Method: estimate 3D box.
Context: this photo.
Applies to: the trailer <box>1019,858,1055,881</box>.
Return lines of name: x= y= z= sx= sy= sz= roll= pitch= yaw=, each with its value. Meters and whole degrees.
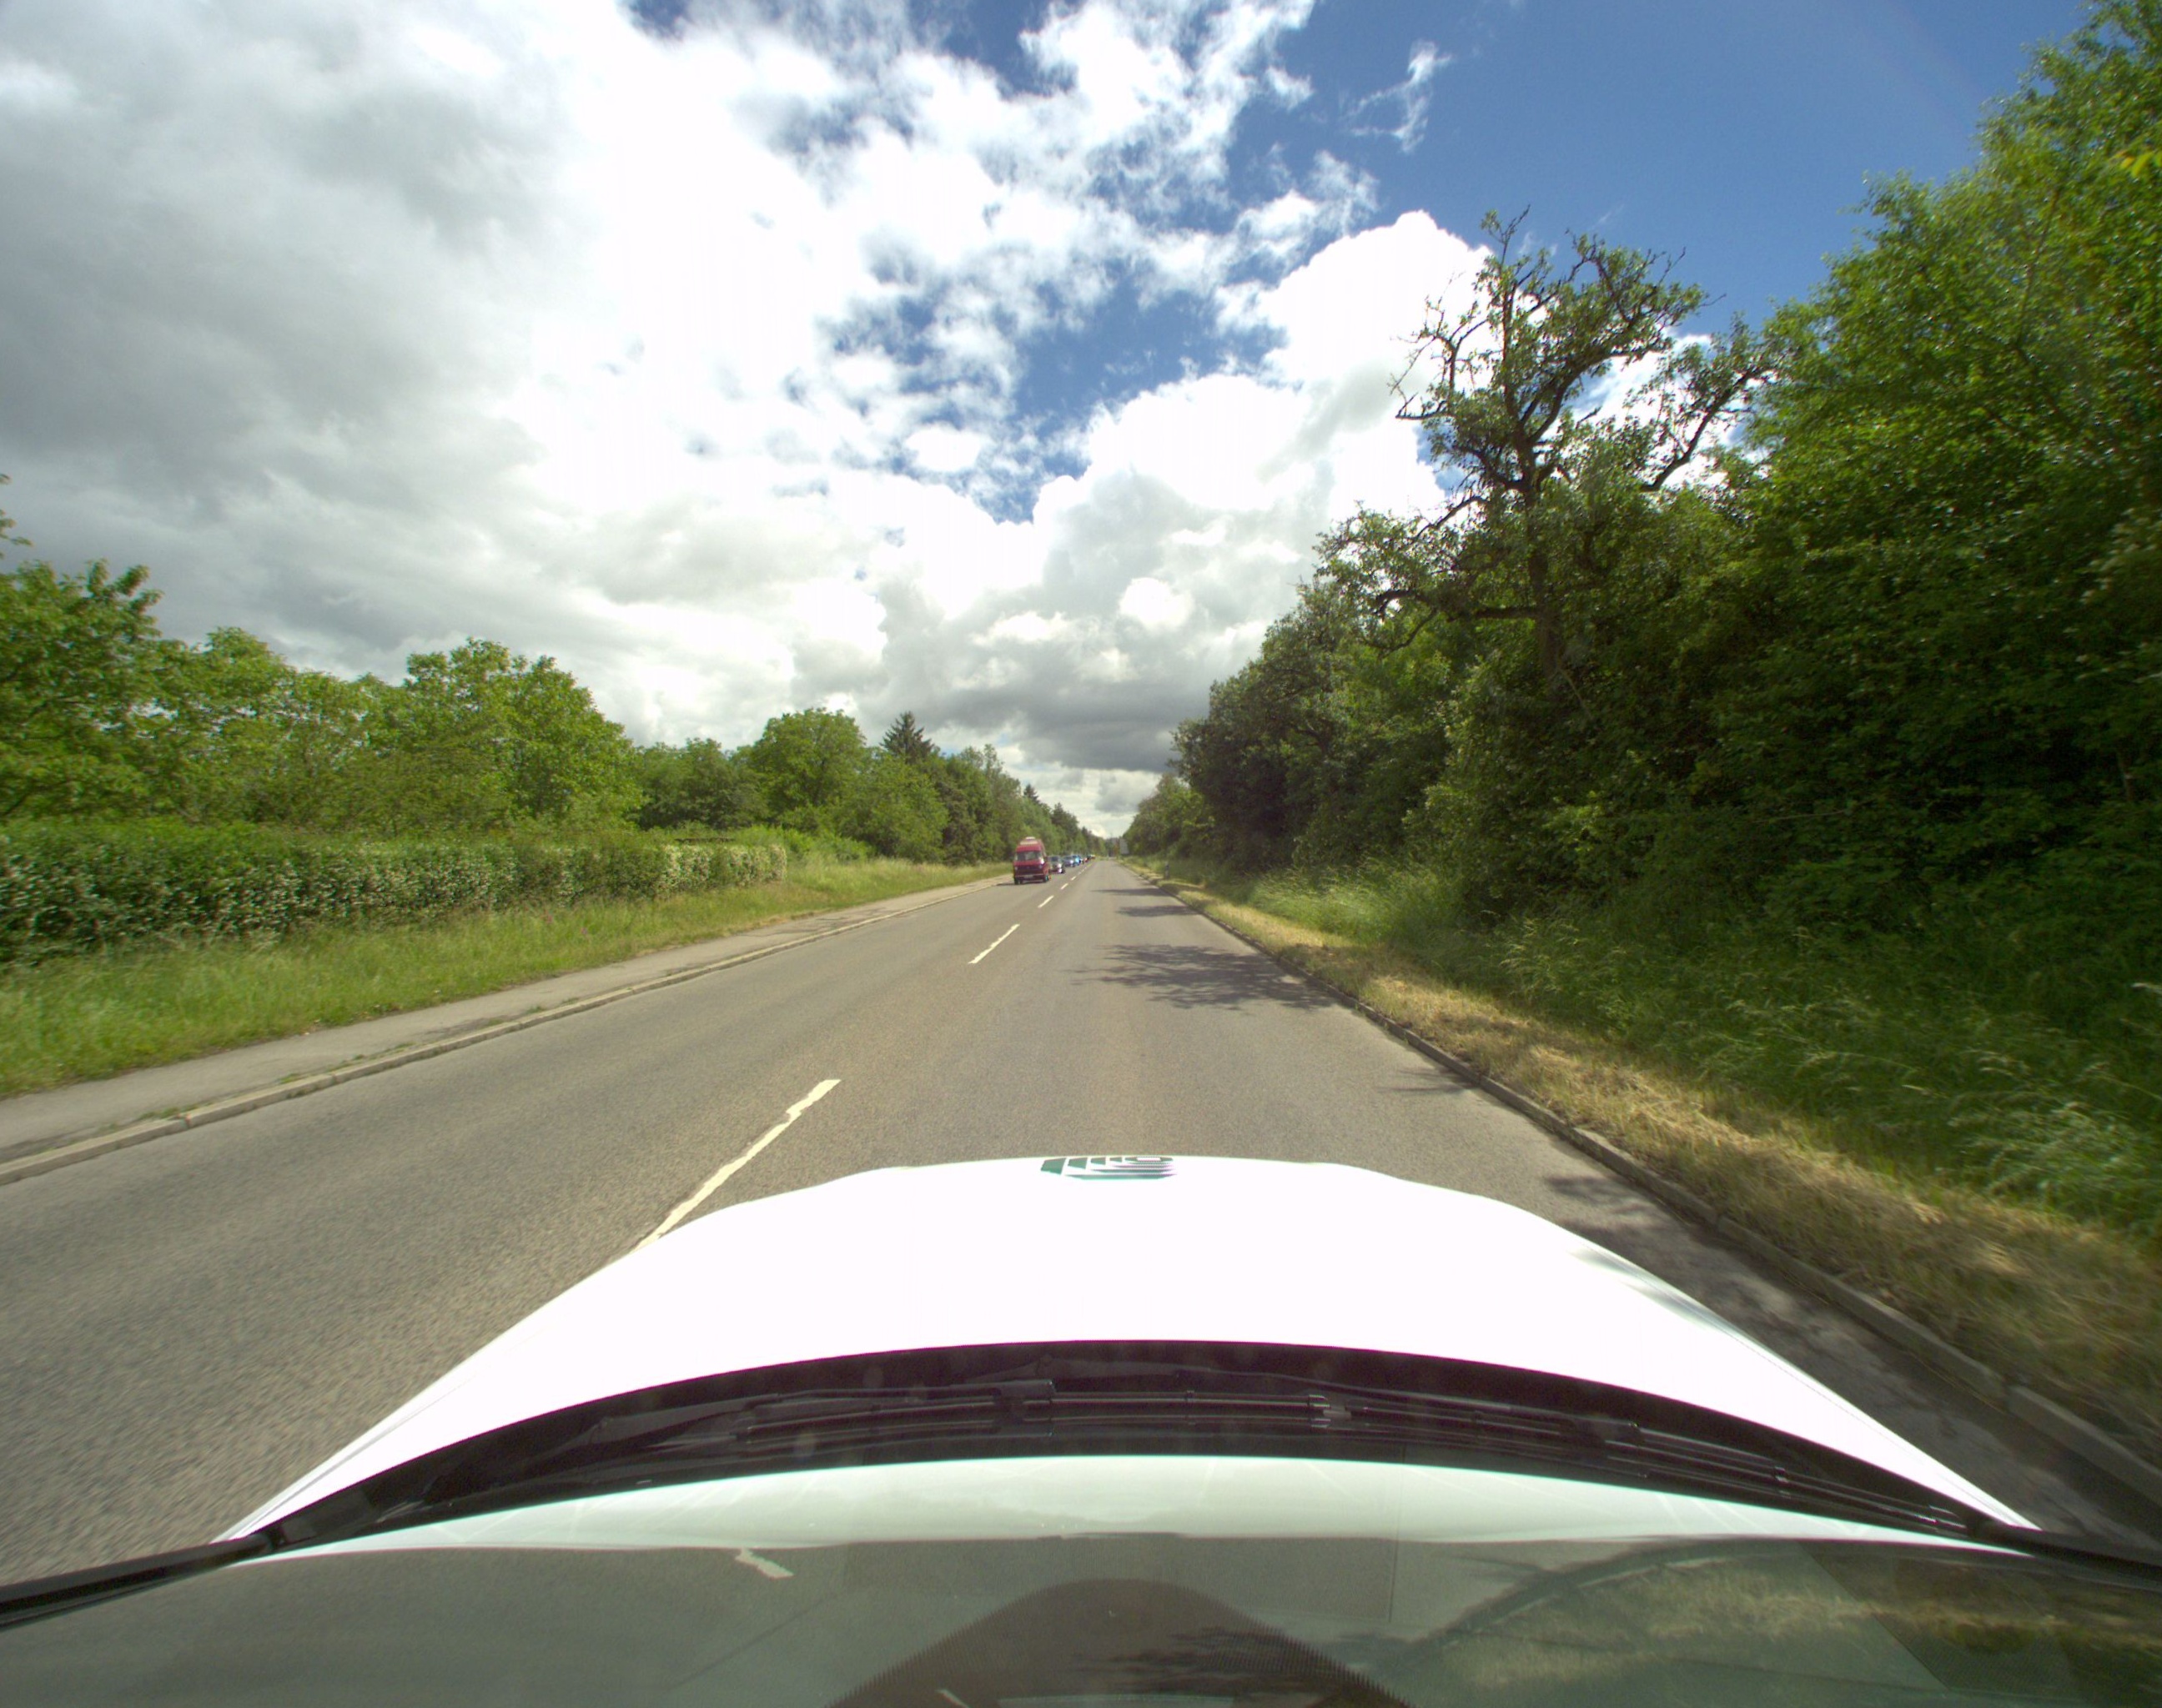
trailer: x=-2.727 y=0.939 z=50.940 sx=1.885 sy=1.200 sz=3.918 roll=-4 pitch=0 yaw=1

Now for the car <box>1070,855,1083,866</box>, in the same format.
car: x=-0.648 y=0.900 z=114.812 sx=1.778 sy=1.446 sz=2.966 roll=-4 pitch=0 yaw=0

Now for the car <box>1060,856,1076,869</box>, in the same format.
car: x=-1.592 y=0.972 z=99.069 sx=1.778 sy=1.446 sz=4.452 roll=-4 pitch=0 yaw=0

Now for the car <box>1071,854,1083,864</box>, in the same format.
car: x=-0.627 y=0.753 z=130.913 sx=1.878 sy=1.491 sz=4.717 roll=-4 pitch=0 yaw=0

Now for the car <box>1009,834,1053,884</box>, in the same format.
car: x=-2.783 y=0.258 z=46.532 sx=1.962 sy=2.550 sz=4.726 roll=-4 pitch=0 yaw=1

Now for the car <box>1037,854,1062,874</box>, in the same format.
car: x=-2.525 y=0.789 z=66.706 sx=1.710 sy=1.471 sz=4.000 roll=-4 pitch=0 yaw=1
